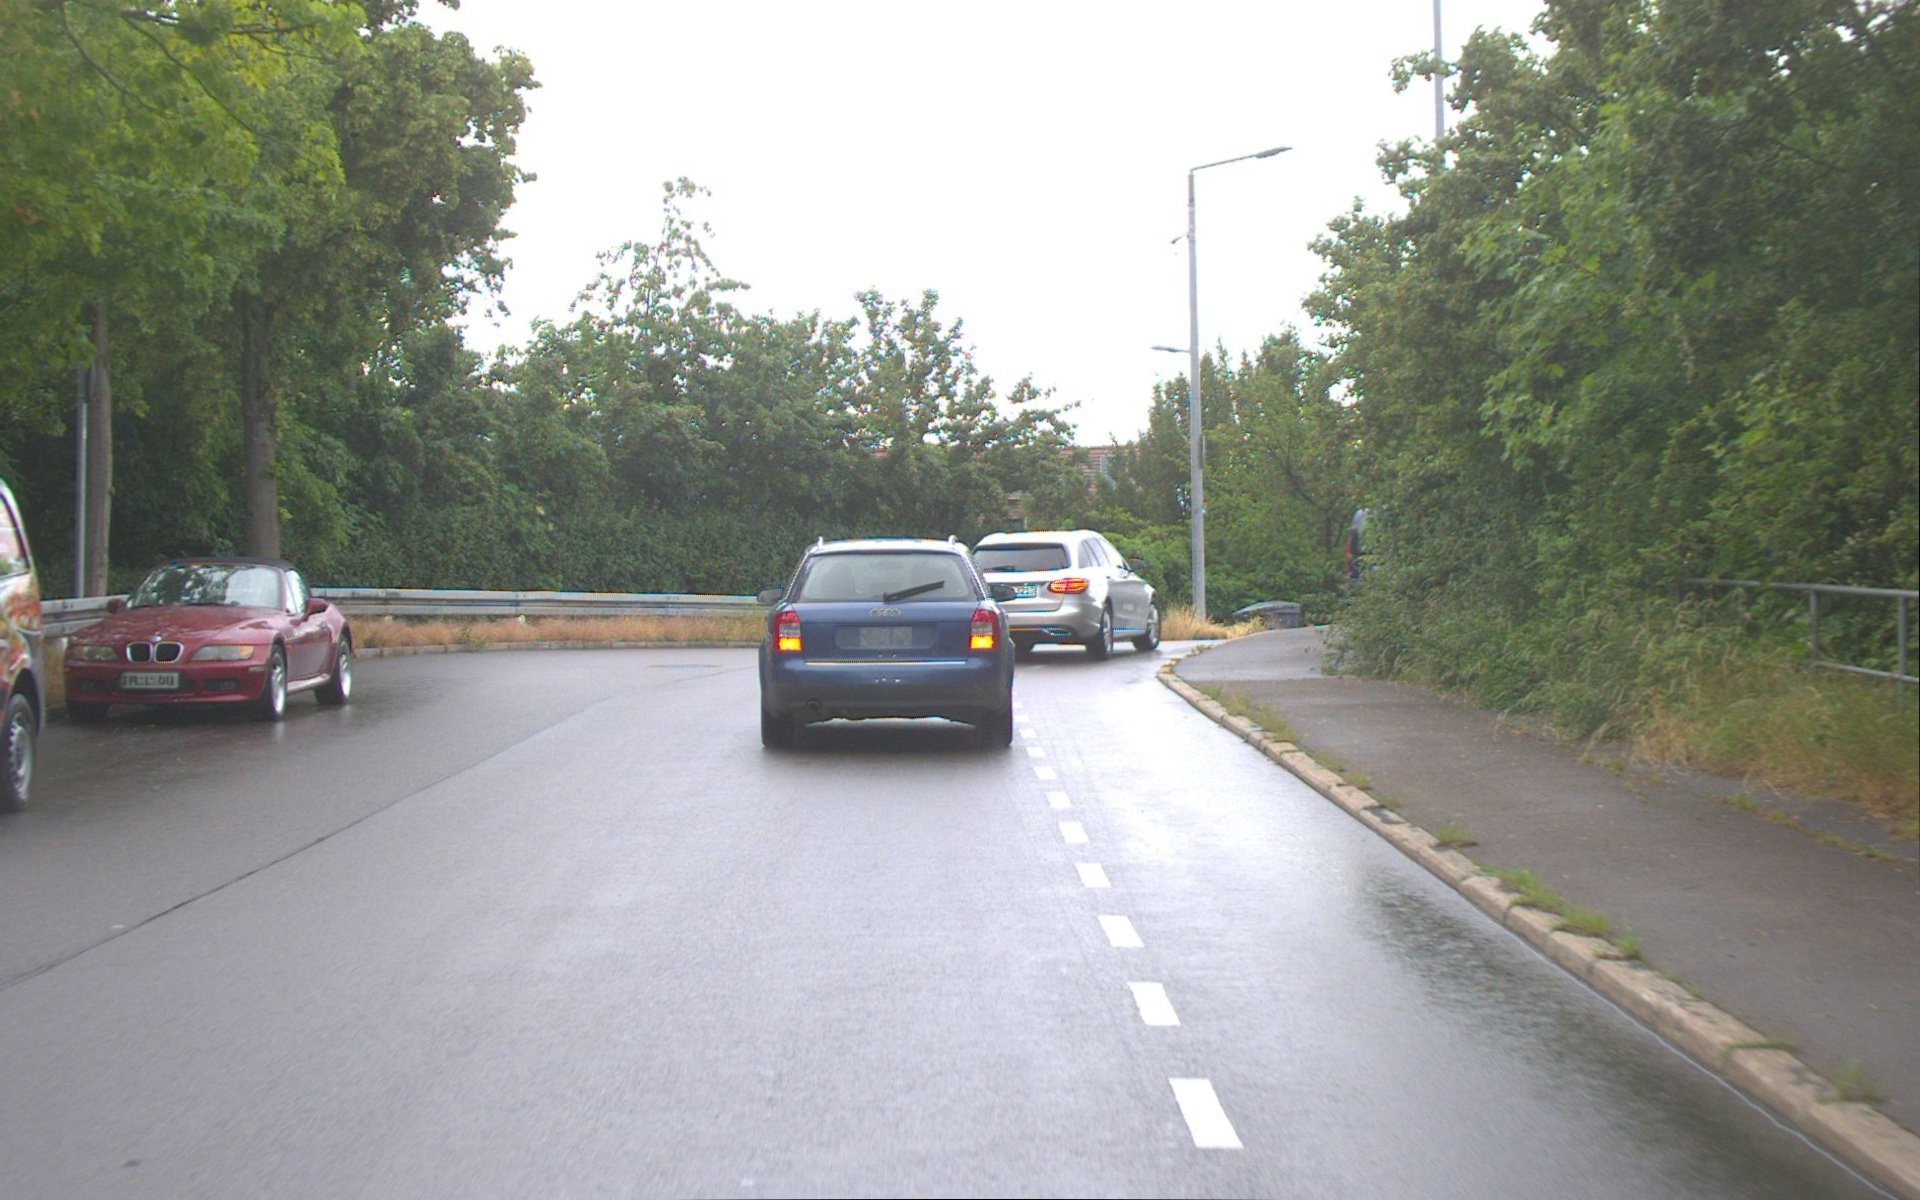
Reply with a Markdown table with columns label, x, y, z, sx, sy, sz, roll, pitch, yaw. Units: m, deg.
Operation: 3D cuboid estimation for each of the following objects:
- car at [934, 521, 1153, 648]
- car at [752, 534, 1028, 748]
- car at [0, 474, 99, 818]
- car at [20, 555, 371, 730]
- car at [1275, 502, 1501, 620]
| label | x | y | z | sx | sy | sz | roll | pitch | yaw |
| --- | --- | --- | --- | --- | --- | --- | --- | --- | --- |
| car | 1.031 | -0.197 | 40.007 | 1.891 | 1.384 | 3.998 | -1 | 1 | 11 |
| car | -0.419 | 0.314 | 24.579 | 1.747 | 1.403 | 3.999 | 0 | -1 | 2 |
| car | -6.121 | 0.274 | 17.433 | 2.083 | 1.813 | 5.381 | -1 | 1 | 0 |
| car | -6.220 | 0.297 | 28.472 | 1.789 | 1.292 | 4.325 | -1 | 1 | 2 |
| car | 6.251 | -0.584 | 49.903 | 1.825 | 1.611 | 3.779 | -1 | 1 | 31 |
